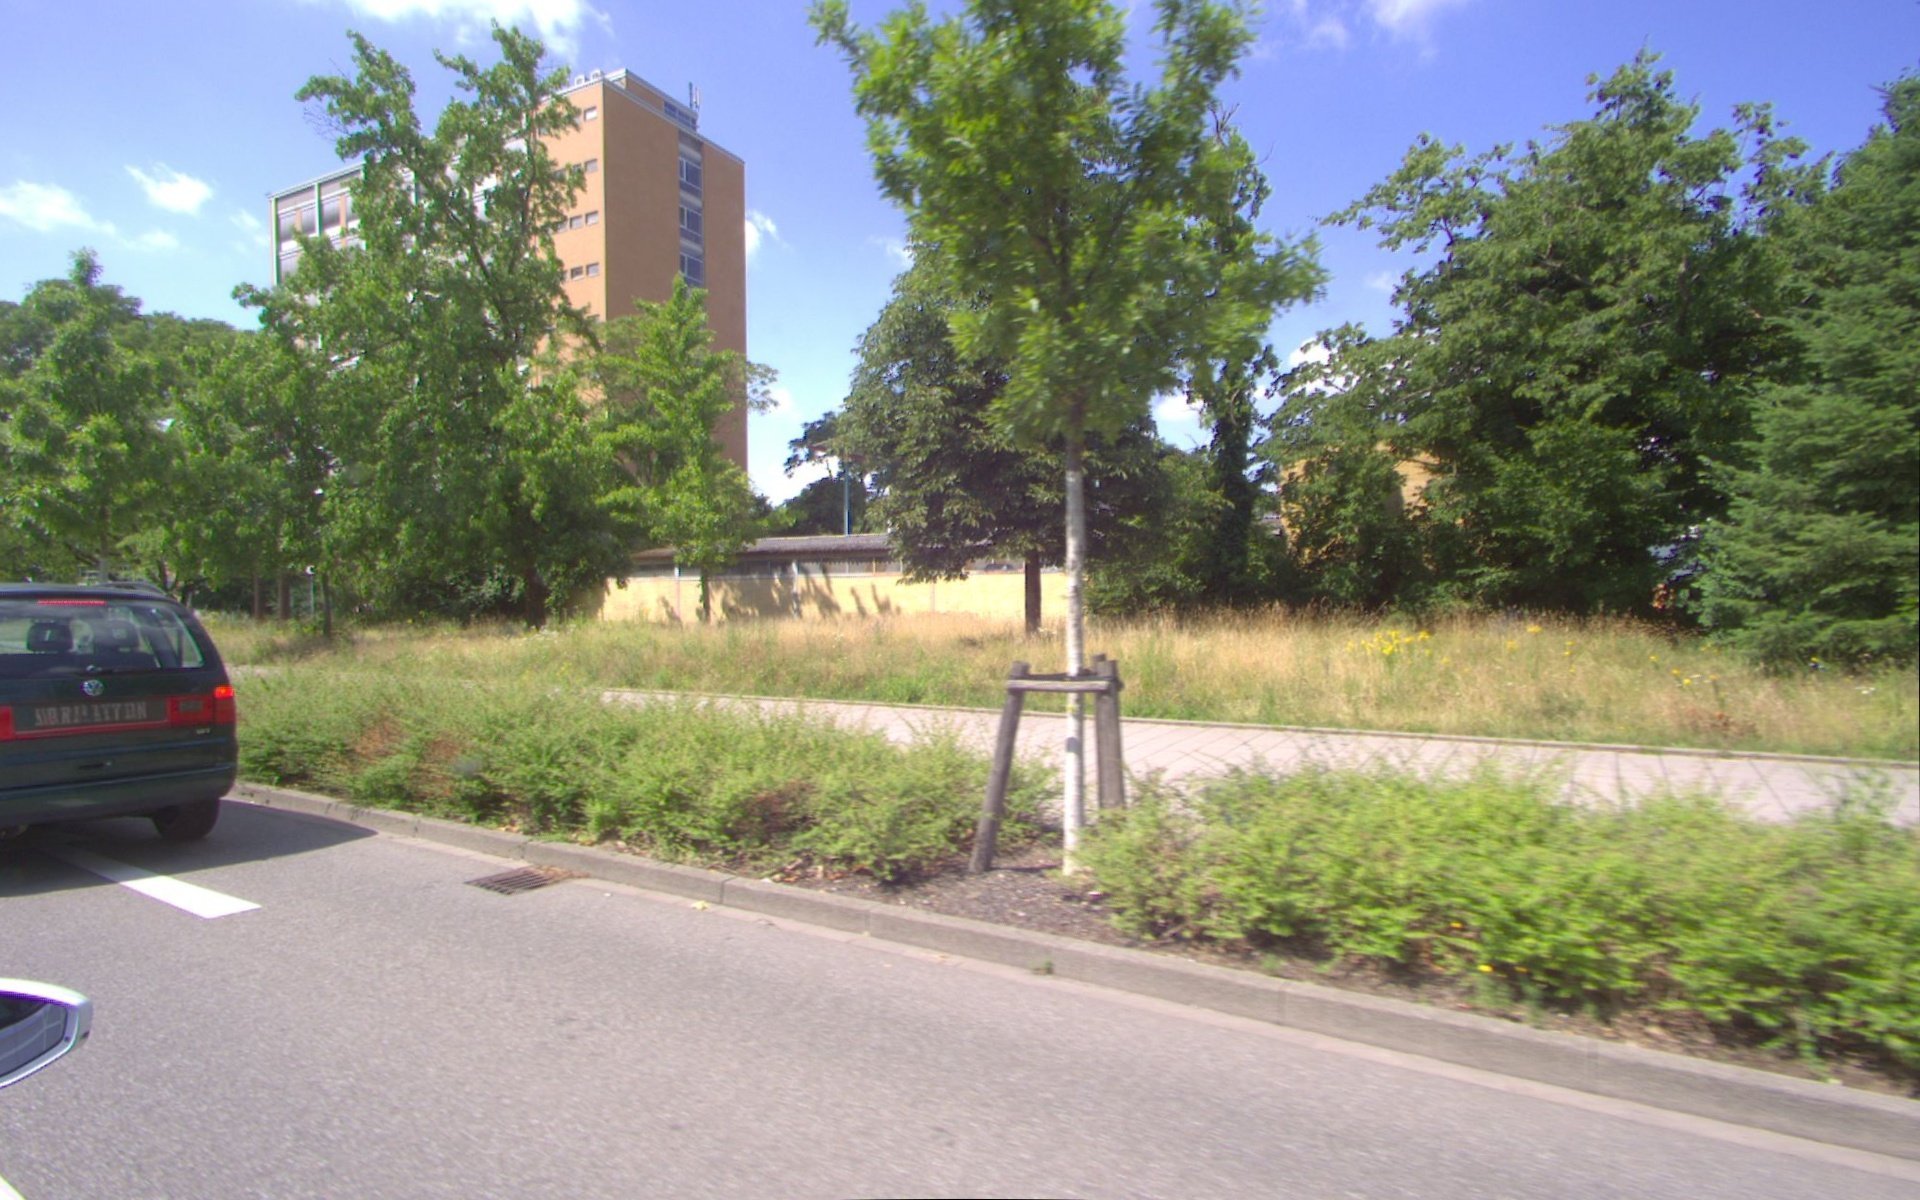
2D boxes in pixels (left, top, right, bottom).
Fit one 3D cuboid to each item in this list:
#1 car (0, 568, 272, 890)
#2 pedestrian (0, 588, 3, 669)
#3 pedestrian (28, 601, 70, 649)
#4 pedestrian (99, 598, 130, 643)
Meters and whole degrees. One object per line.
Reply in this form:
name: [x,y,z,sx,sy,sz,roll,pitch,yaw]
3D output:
car: [-6.828,0.714,6.983,4.325,1.757,1.809,0,-1,32]
pedestrian: [-23.125,0.667,23.400,0.762,1.917,0.948,0,1,32]
pedestrian: [-30.100,0.807,33.097,0.823,1.559,0.843,0,1,32]
pedestrian: [-38.874,0.938,46.053,0.832,2.085,0.740,0,1,16]
